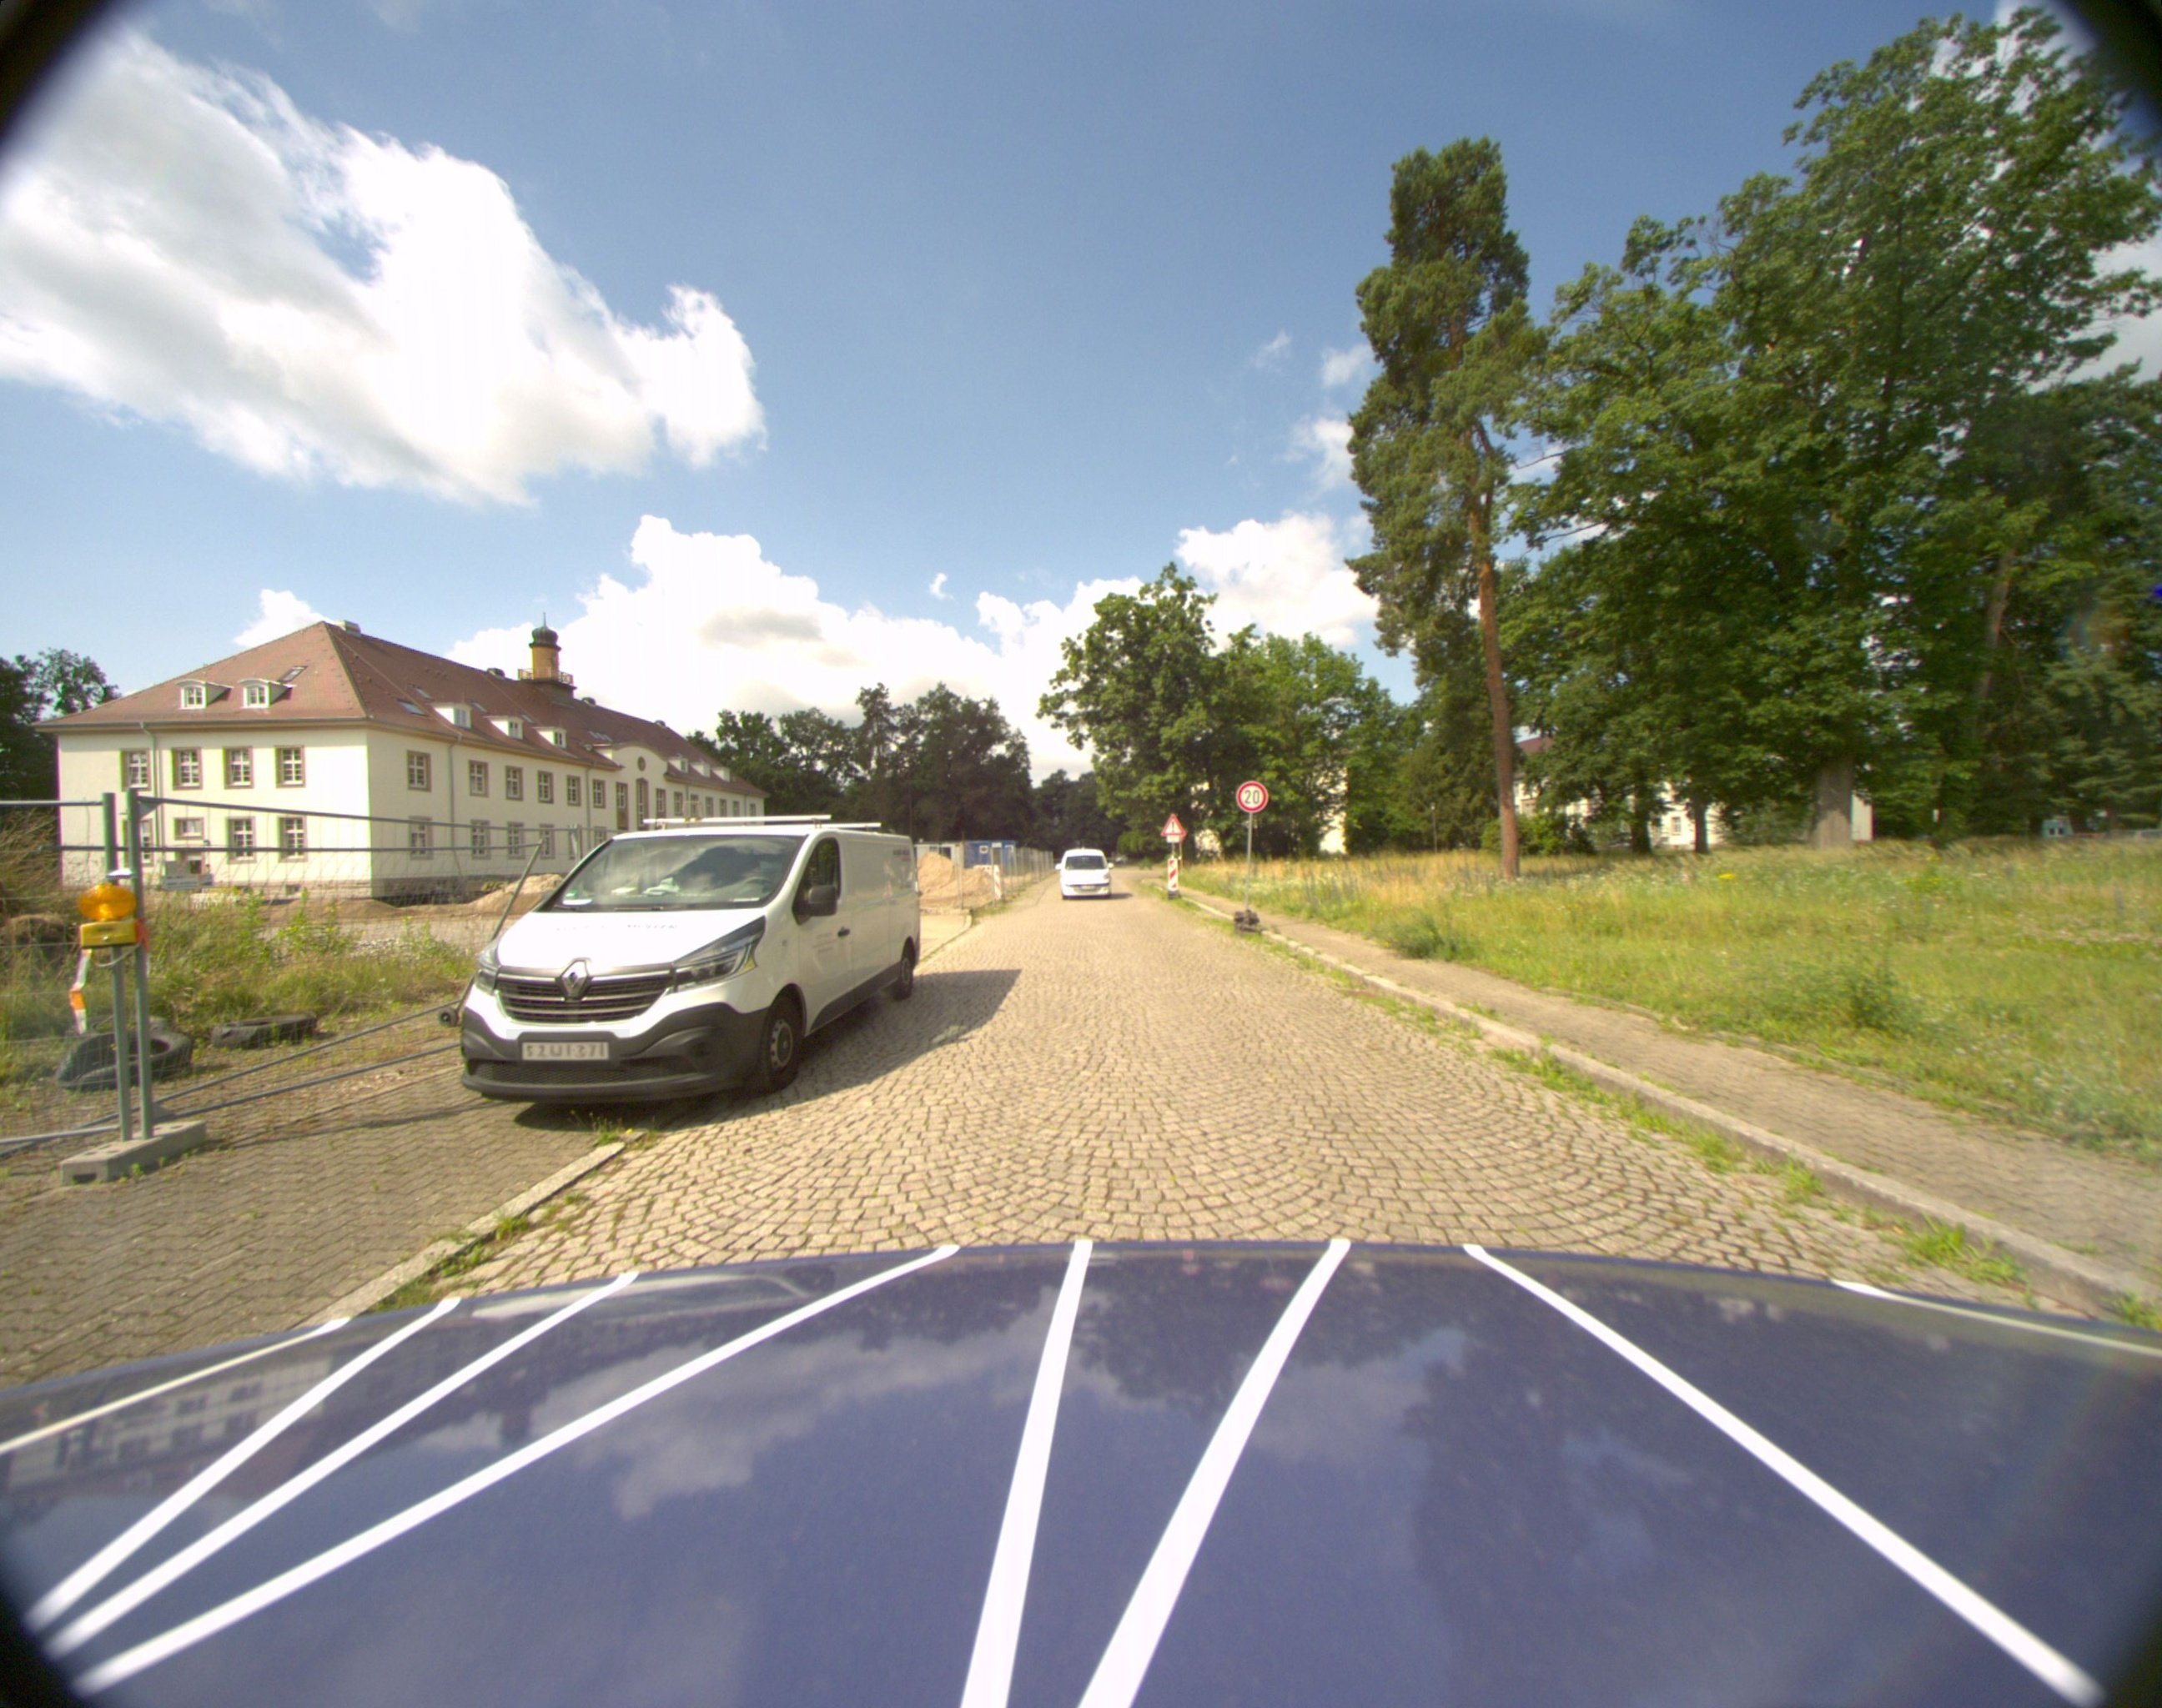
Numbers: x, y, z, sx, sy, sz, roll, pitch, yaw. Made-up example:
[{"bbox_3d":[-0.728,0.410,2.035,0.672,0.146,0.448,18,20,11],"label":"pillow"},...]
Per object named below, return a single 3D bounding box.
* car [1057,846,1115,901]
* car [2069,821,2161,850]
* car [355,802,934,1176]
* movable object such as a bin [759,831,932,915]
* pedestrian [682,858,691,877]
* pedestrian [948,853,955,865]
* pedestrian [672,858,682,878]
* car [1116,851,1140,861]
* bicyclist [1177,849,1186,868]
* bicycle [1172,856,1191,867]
[{"bbox_3d":[0.099,0.719,28.964,1.840,1.857,4.829,-2,-1,-3],"label":"car"},{"bbox_3d":[53.270,-0.937,38.462,4.068,1.404,1.900,-1,1,-1],"label":"car"},{"bbox_3d":[-2.958,0.729,7.029,1.918,2.041,5.678,-1,1,1],"label":"car"},{"bbox_3d":[-7.763,0.589,25.733,2.144,2.507,5.667,-1,0,29],"label":"movable object such as a bin"},{"bbox_3d":[-36.033,1.232,69.461,0.491,1.777,0.506,-2,1,-3],"label":"pedestrian"},{"bbox_3d":[-13.000,0.523,76.414,0.602,1.235,0.682,-2,1,-1],"label":"pedestrian"},{"bbox_3d":[-36.141,1.245,68.004,0.490,1.777,0.507,-2,1,23],"label":"pedestrian"},{"bbox_3d":[8.345,0.304,135.301,4.084,1.634,1.767,-1,1,0],"label":"car"},{"bbox_3d":[9.423,0.393,71.237,0.569,1.760,0.636,-2,1,32],"label":"bicyclist"},{"bbox_3d":[9.435,0.744,71.236,1.553,0.990,0.636,-2,1,32],"label":"bicycle"}]
